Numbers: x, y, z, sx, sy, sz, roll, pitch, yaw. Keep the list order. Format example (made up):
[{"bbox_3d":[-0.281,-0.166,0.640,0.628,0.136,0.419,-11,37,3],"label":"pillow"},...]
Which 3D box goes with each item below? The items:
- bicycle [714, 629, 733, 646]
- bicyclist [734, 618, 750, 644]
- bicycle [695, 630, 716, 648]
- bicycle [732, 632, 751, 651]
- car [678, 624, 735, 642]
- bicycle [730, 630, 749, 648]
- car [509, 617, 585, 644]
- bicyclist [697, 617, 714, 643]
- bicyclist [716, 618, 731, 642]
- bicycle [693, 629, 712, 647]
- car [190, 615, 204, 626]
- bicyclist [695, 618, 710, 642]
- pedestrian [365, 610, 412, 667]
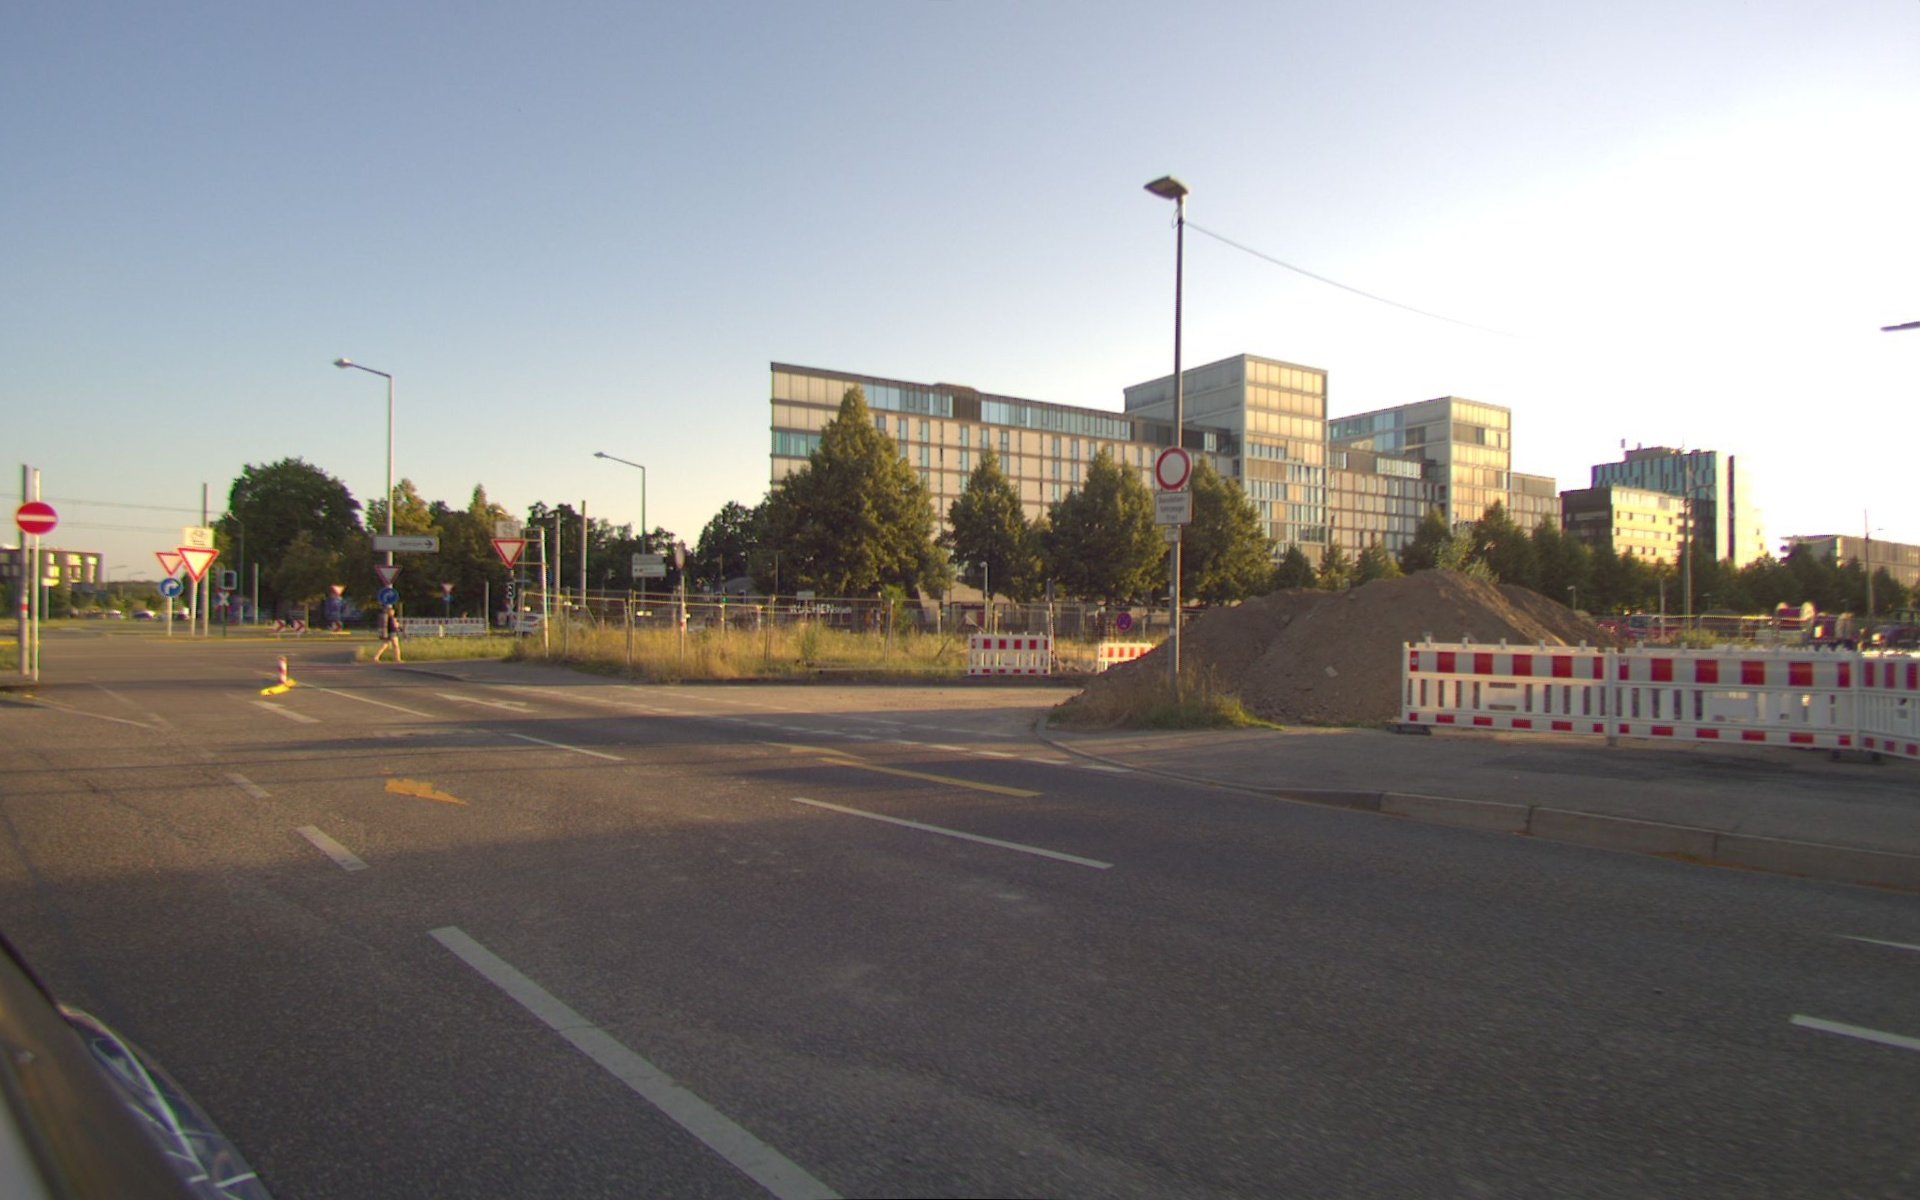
[{"bbox_3d":[-15.180,2.411,64.908,0.689,1.052,2.086,2,-2,-28],"label":"bicycle"},{"bbox_3d":[-12.706,1.819,58.927,0.689,1.502,0.977,2,-2,-24],"label":"bicyclist"},{"bbox_3d":[-15.037,2.290,59.697,0.689,1.052,2.086,2,-2,-28],"label":"bicycle"},{"bbox_3d":[-12.724,2.390,58.928,0.689,1.052,2.086,2,-2,-24],"label":"bicycle"},{"bbox_3d":[-22.250,2.911,88.935,4.515,1.432,1.827,2,-2,-33],"label":"car"},{"bbox_3d":[-13.395,2.349,61.346,0.689,1.052,2.086,2,-2,-24],"label":"bicycle"},{"bbox_3d":[-23.685,1.722,58.147,1.623,1.475,3.964,0,-1,27],"label":"car"},{"bbox_3d":[-15.000,1.792,59.660,0.689,1.502,0.977,2,-2,-28],"label":"bicyclist"},{"bbox_3d":[-15.196,1.915,64.971,0.689,1.502,0.977,2,-2,-28],"label":"bicyclist"},{"bbox_3d":[-16.090,2.356,63.245,0.689,1.052,2.086,2,-2,-28],"label":"bicycle"},{"bbox_3d":[-144.875,3.844,192.087,1.967,2.029,4.009,2,-2,-36],"label":"car"},{"bbox_3d":[-16.123,1.859,63.331,0.689,1.502,0.977,2,-2,-28],"label":"bicyclist"},{"bbox_3d":[-17.472,1.184,30.974,0.784,1.708,0.918,0,-3,28],"label":"pedestrian"}]
